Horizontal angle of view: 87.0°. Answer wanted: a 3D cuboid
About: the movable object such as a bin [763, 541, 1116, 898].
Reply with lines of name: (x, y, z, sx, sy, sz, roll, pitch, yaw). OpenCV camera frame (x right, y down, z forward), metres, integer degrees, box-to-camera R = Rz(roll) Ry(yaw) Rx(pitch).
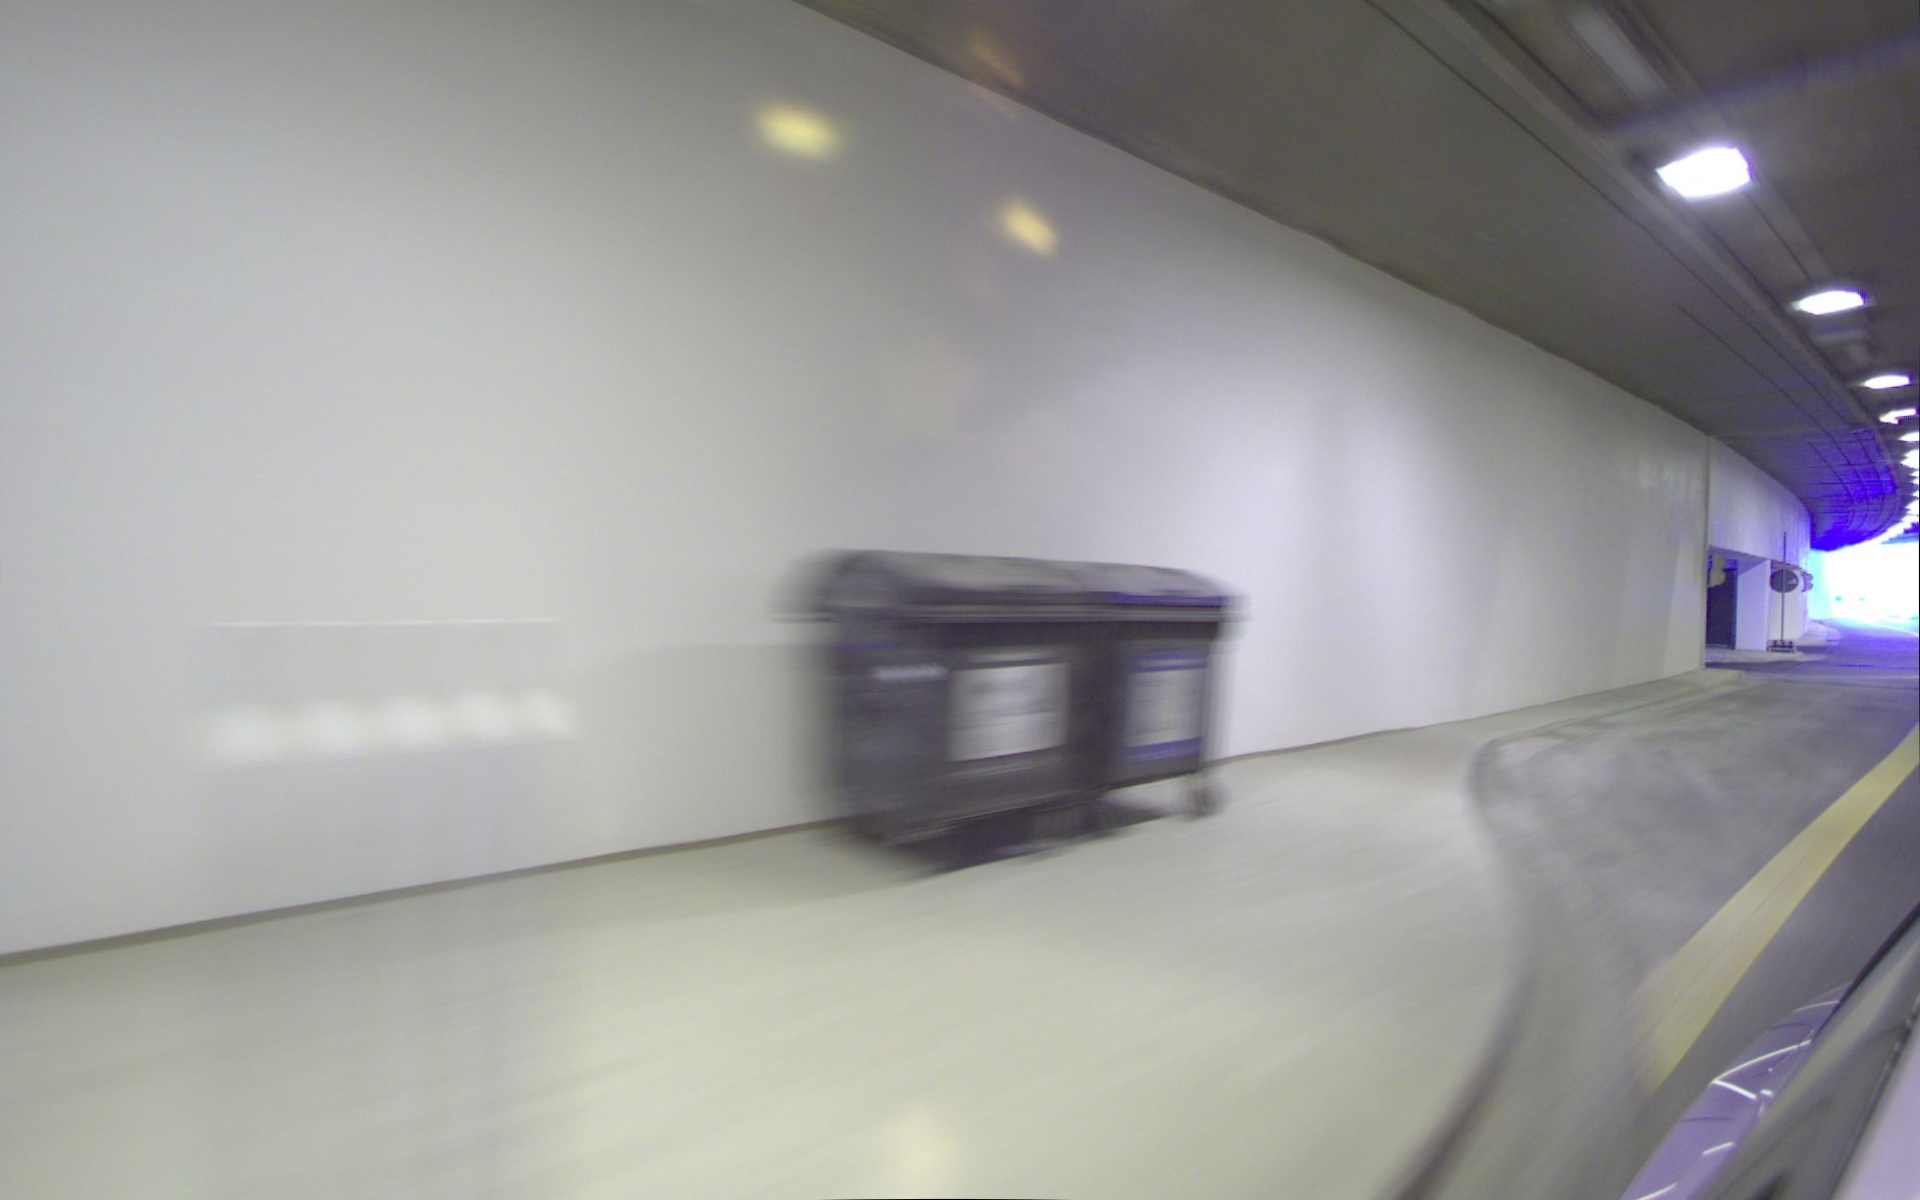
movable object such as a bin: (-0.101, 0.471, 5.026, 1.340, 1.463, 1.147, -1, 1, -41)

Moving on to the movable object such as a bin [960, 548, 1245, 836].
movable object such as a bin: (0.843, 0.448, 5.980, 1.299, 1.463, 1.099, -1, 1, -41)
